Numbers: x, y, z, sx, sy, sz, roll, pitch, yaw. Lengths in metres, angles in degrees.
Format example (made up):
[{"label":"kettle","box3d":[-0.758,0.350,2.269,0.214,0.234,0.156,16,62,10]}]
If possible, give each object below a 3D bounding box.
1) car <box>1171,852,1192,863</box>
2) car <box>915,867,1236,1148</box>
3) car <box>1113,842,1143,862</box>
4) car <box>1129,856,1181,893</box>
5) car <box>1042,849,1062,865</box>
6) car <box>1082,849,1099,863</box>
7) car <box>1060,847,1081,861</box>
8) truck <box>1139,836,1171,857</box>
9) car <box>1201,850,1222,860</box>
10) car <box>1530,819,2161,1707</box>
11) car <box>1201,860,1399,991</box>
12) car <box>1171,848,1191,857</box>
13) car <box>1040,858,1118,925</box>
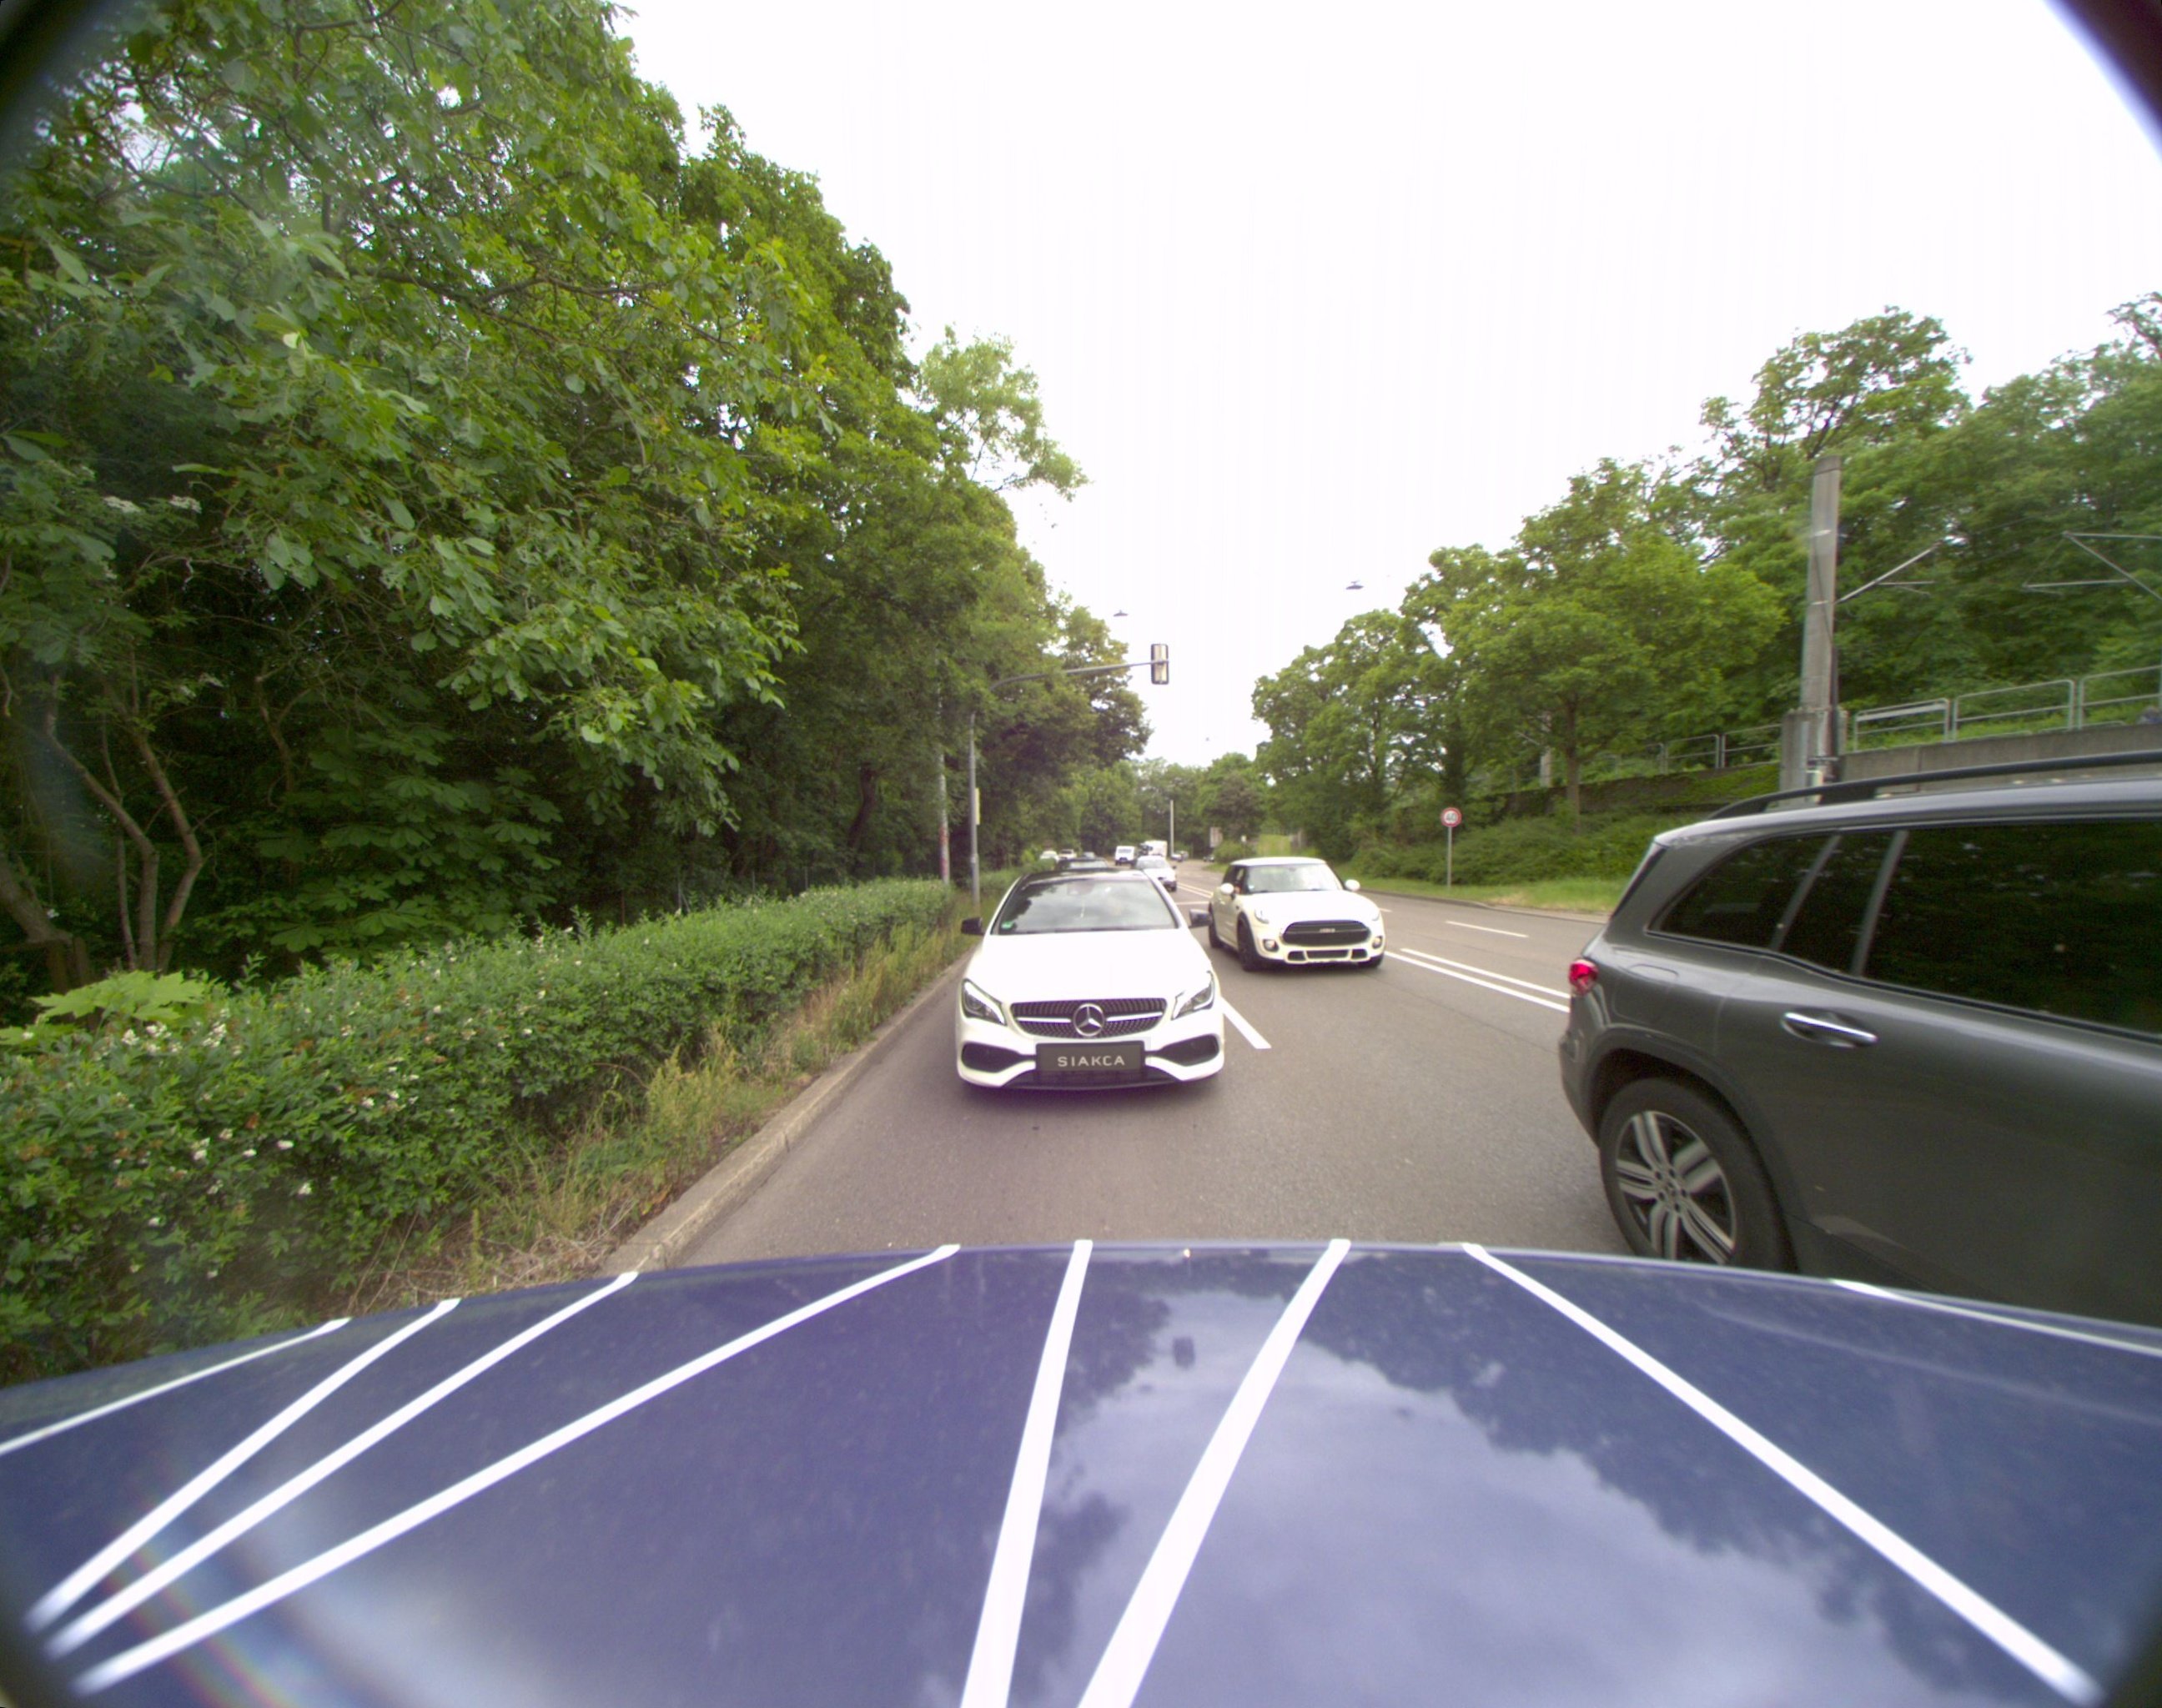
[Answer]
[{"label":"car","box3d":[15.709,0.485,118.295,1.850,1.641,4.366,1,0,27]},{"label":"car","box3d":[-0.004,0.930,6.408,1.801,1.470,4.010,-2,0,1]},{"label":"car","box3d":[5.445,-0.226,86.924,2.283,2.187,6.464,-1,0,13]},{"label":"car","box3d":[2.967,0.798,31.337,1.664,1.382,4.182,-1,0,-1]},{"label":"car","box3d":[-2.828,0.271,74.617,1.765,1.433,3.891,1,0,0]},{"label":"car","box3d":[1.038,0.228,81.636,1.765,1.433,3.892,1,0,1]},{"label":"car","box3d":[-1.234,-0.012,89.786,1.754,1.575,4.013,1,0,10]},{"label":"truck","box3d":[11.985,-1.188,122.307,2.195,3.137,6.665,2,1,33]},{"label":"car","box3d":[21.869,0.108,127.344,1.850,1.641,4.366,1,1,32]},{"label":"car","box3d":[2.720,0.743,0.801,1.854,1.641,4.357,-1,0,-1]},{"label":"car","box3d":[2.810,0.837,10.600,1.688,1.415,3.732,-1,0,0]},{"label":"car","box3d":[17.139,-0.238,130.413,1.751,1.354,4.019,4,1,34]},{"label":"car","box3d":[-0.033,0.893,19.811,1.755,1.417,4.010,3,1,0]}]
